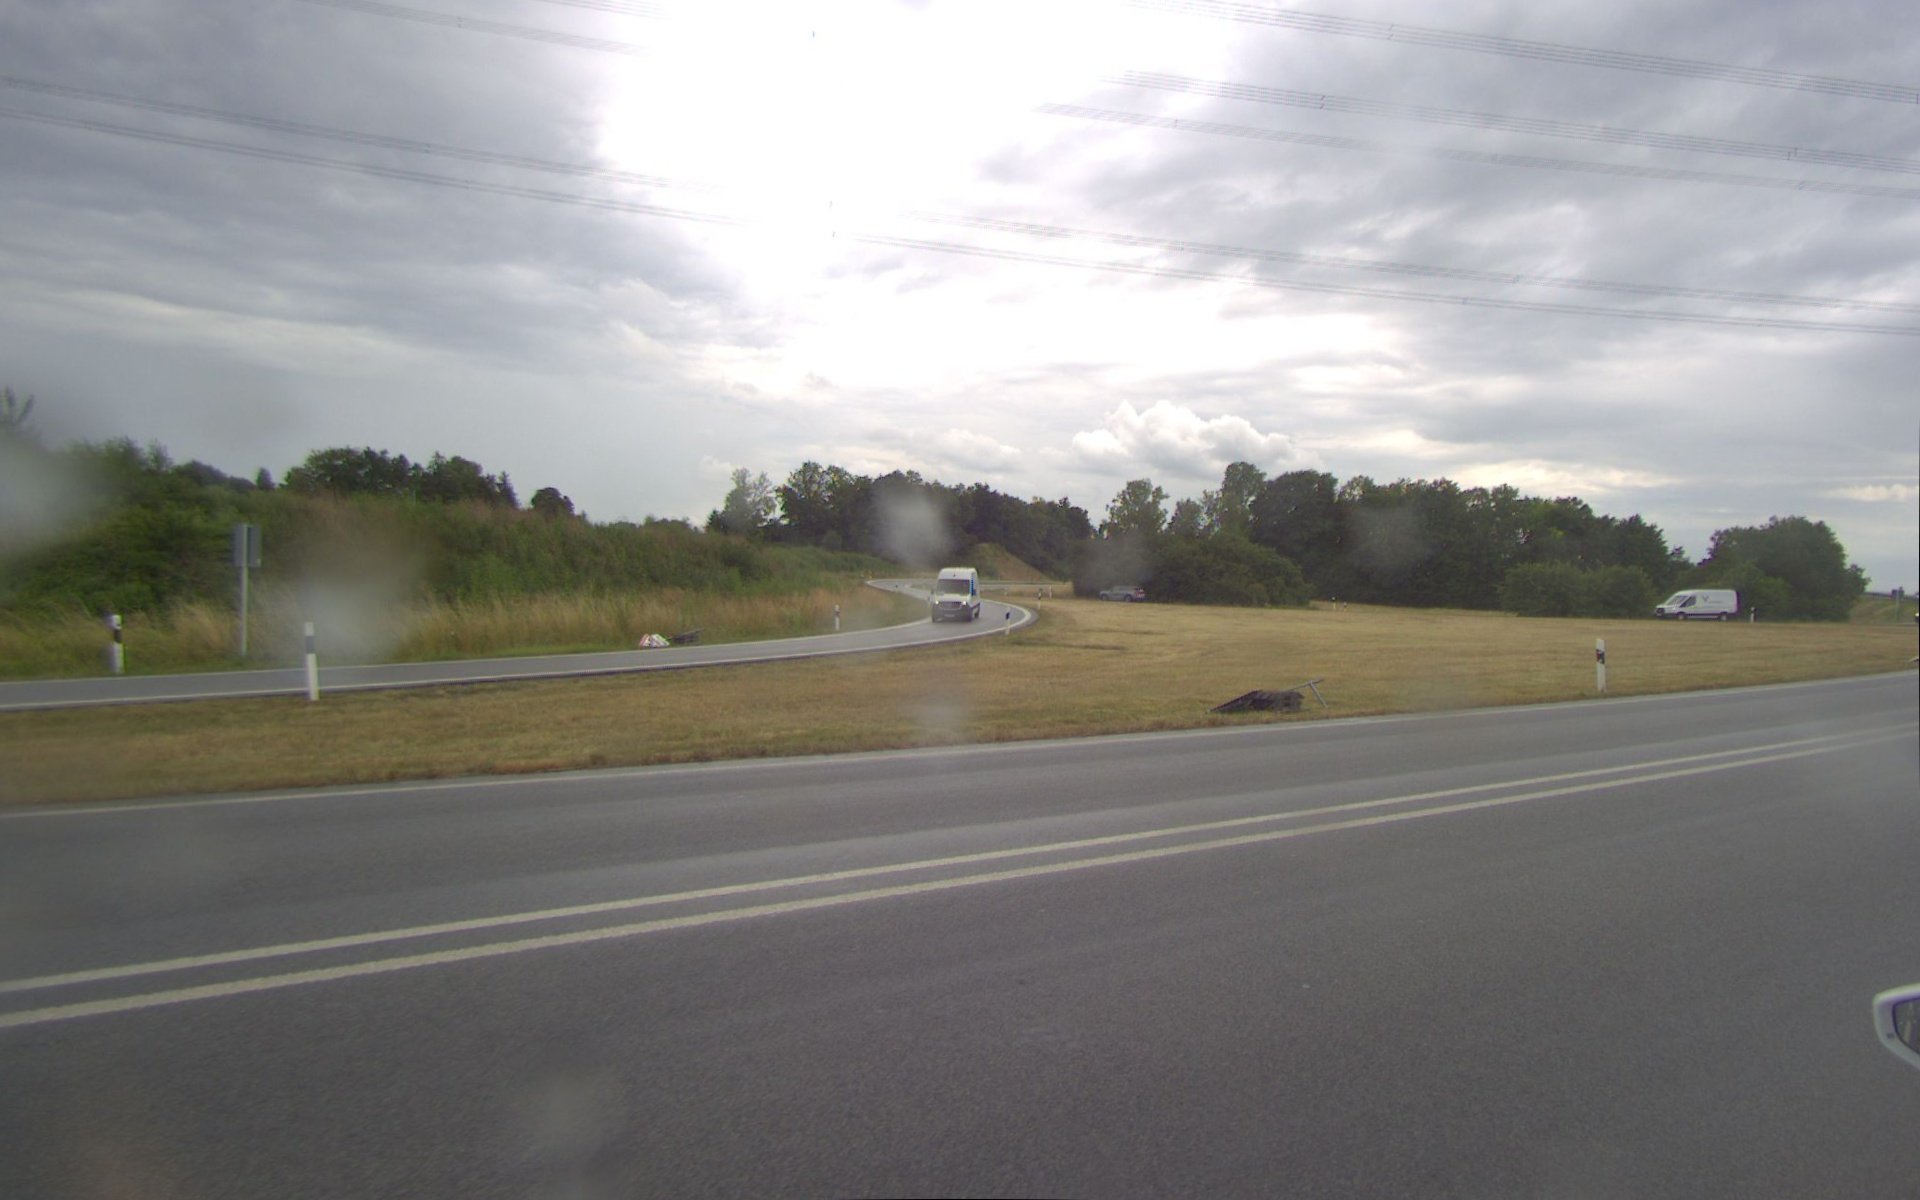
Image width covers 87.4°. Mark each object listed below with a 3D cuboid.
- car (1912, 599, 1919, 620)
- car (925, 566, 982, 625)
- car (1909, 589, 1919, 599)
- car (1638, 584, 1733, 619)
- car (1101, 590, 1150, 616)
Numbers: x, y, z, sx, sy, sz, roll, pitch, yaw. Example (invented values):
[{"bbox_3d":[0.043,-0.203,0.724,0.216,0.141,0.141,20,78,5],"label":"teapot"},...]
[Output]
[{"bbox_3d":[78.569,0.894,80.223,3.852,1.625,1.981,3,1,-16],"label":"car"},{"bbox_3d":[-0.234,-0.335,51.677,2.169,2.786,6.023,2,2,6],"label":"car"},{"bbox_3d":[146.512,-0.990,153.551,1.724,1.383,4.031,-2,-3,40],"label":"car"},{"bbox_3d":[55.177,0.105,76.460,5.361,2.423,2.442,2,0,2],"label":"car"},{"bbox_3d":[15.323,0.285,93.207,3.941,2.040,1.990,7,4,41],"label":"car"}]
